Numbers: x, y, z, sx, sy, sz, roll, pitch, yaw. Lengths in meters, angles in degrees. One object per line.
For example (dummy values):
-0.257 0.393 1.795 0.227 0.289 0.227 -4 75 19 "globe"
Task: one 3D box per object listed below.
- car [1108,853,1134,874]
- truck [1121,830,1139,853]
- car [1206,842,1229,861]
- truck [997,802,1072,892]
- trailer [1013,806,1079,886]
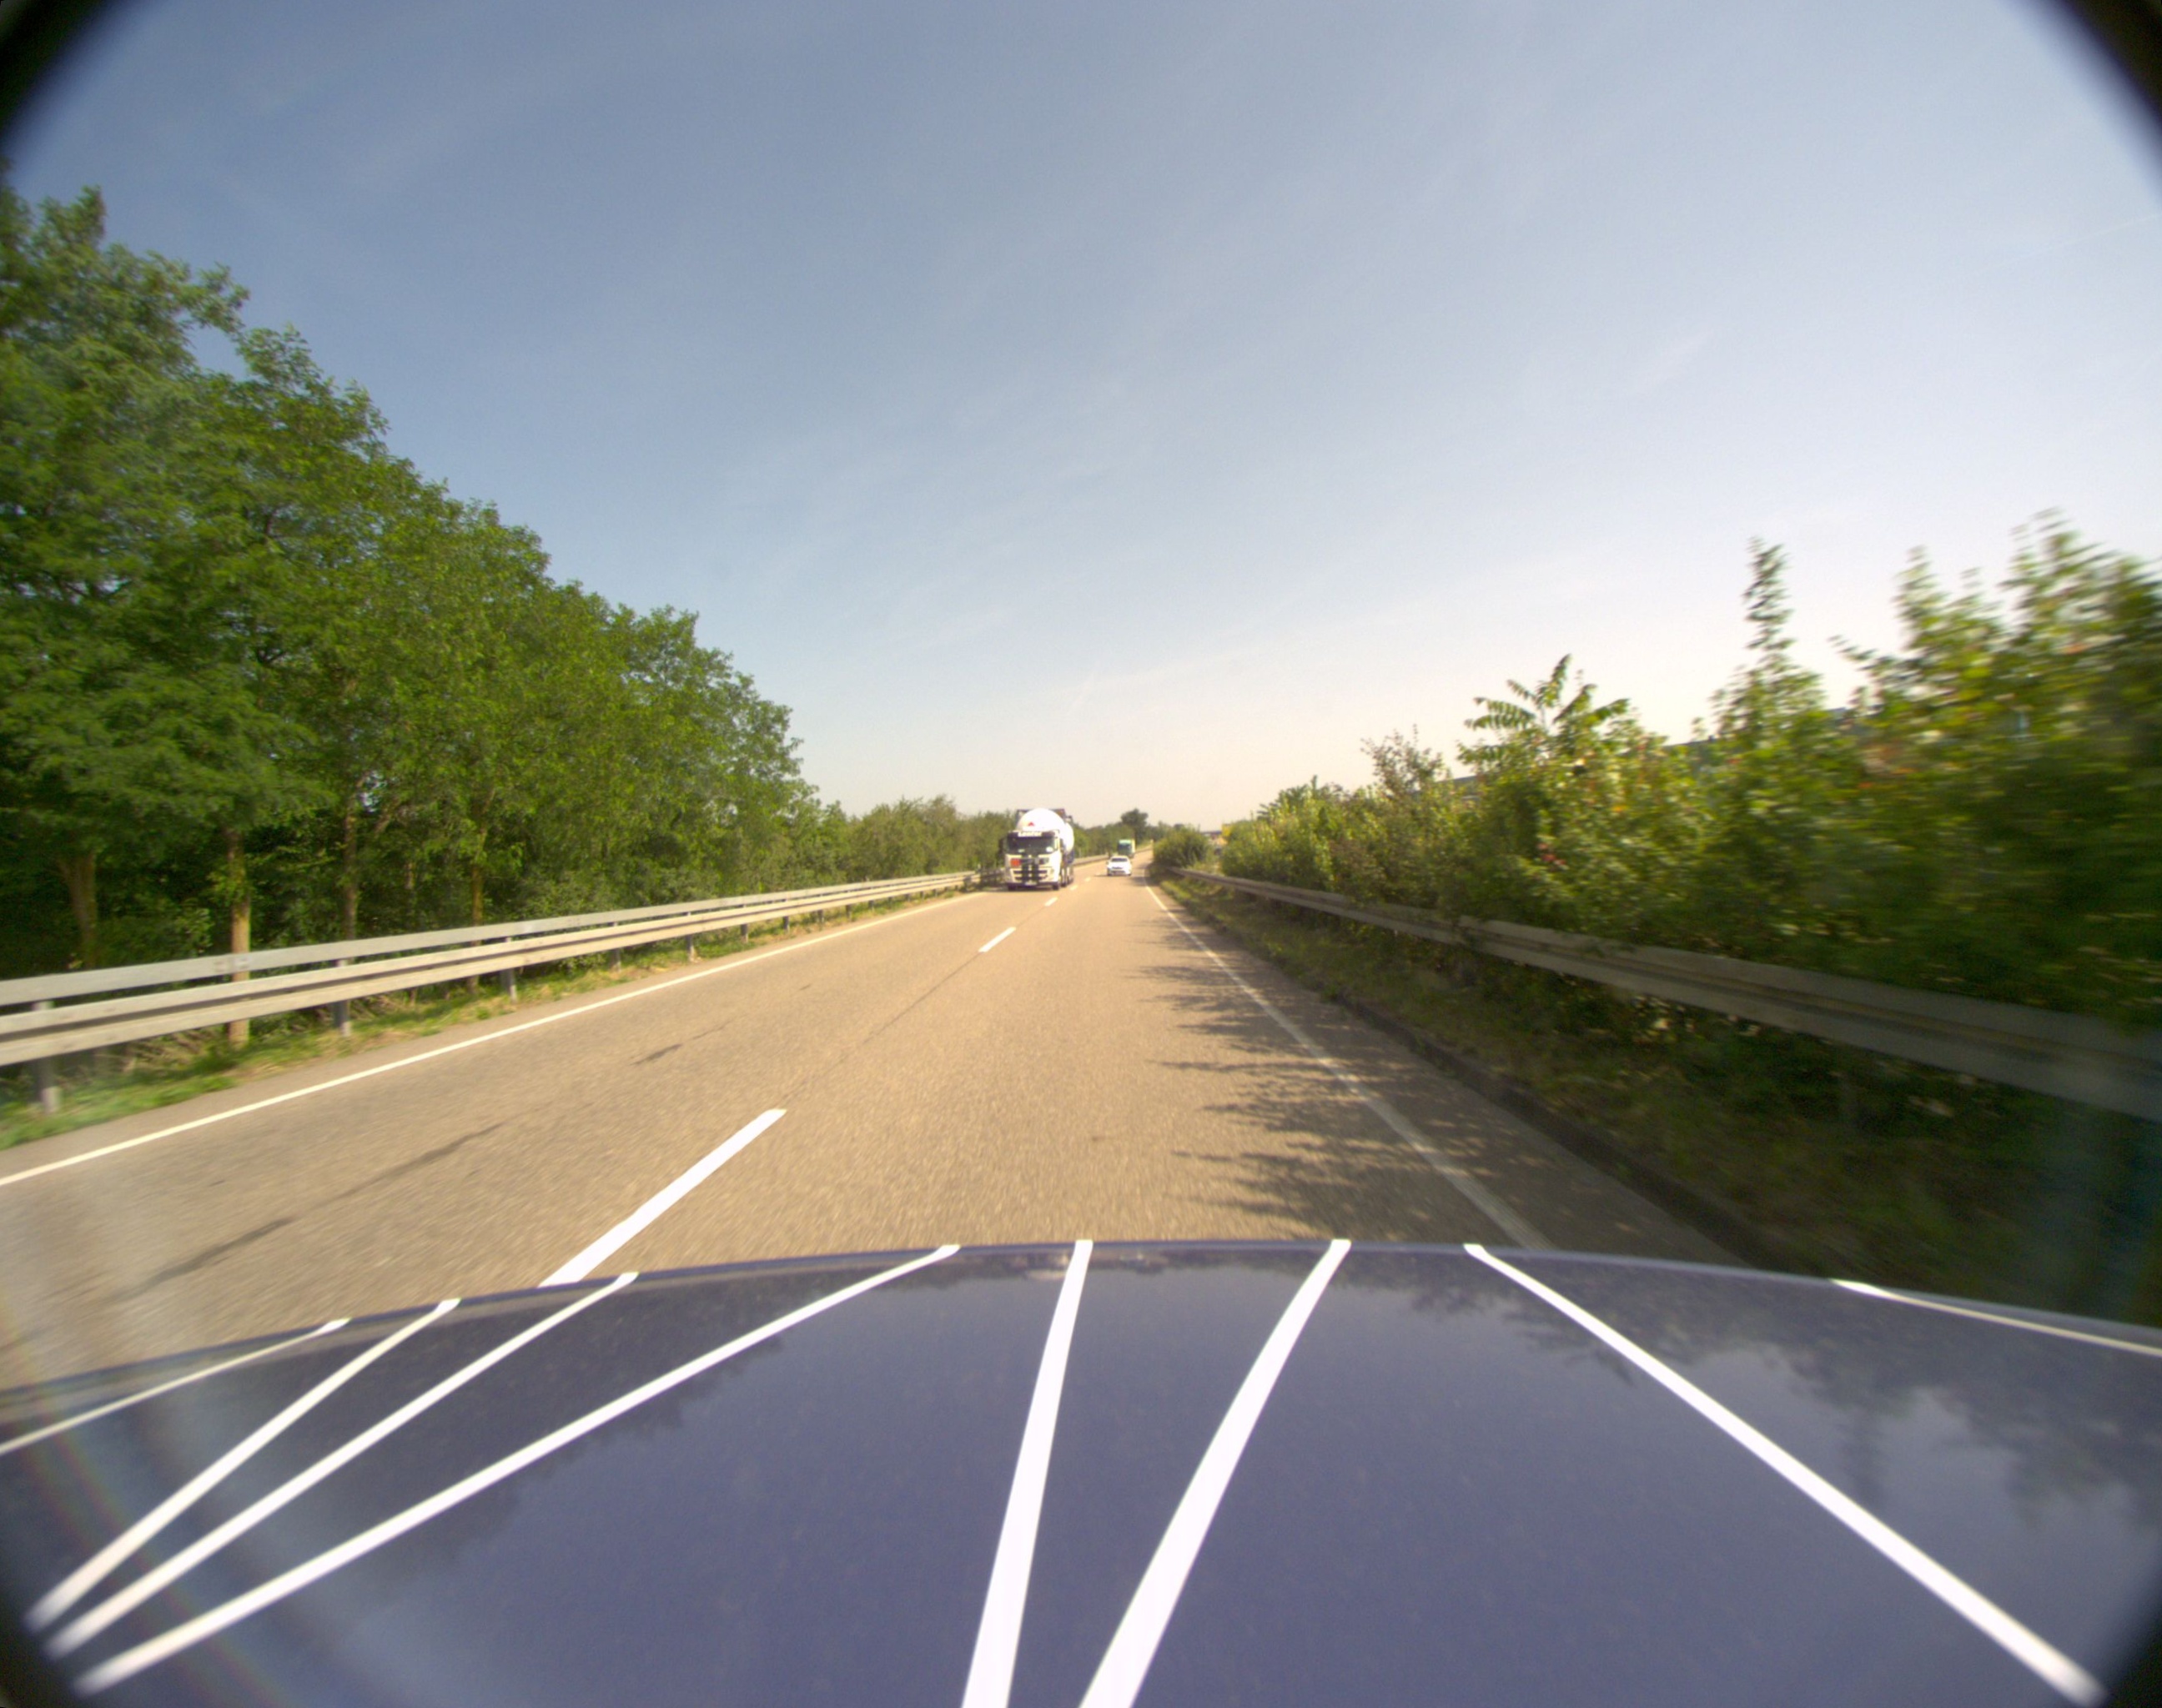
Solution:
2.997 0.678 56.749 1.789 1.427 4.000 -2 1 4 "car"
9.213 -2.294 142.557 2.547 4.136 8.444 -1 1 10 "truck"
12.398 -0.220 69.295 1.596 1.613 4.322 -1 0 4 "car"
-2.094 -0.331 36.495 2.778 3.939 5.628 -1 1 4 "truck"
-1.751 -0.433 41.982 2.763 3.968 8.187 -1 1 3 "trailer"
